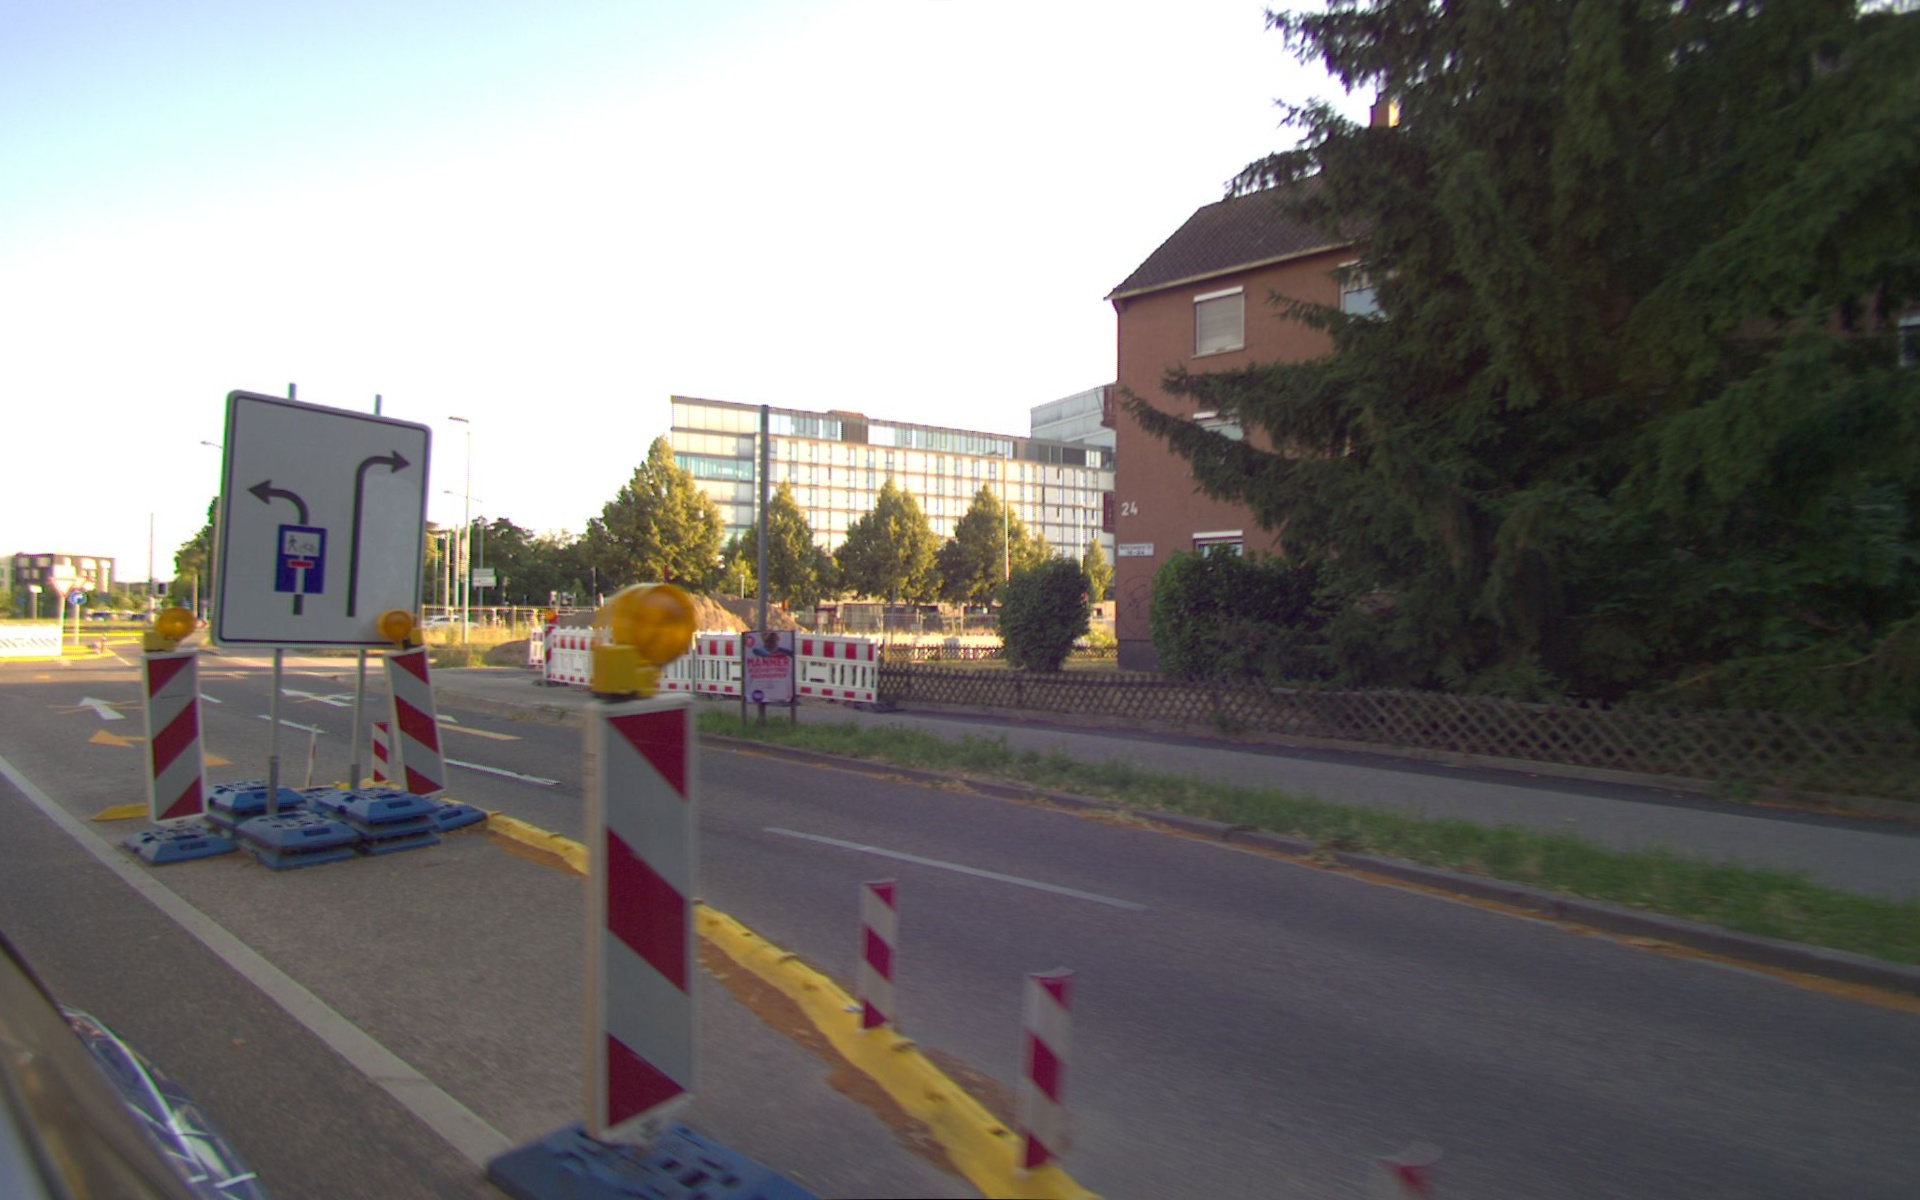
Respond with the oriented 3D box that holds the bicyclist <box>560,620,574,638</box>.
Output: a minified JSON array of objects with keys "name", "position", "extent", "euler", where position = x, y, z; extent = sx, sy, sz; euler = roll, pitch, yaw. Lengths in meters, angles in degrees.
[{"name":"bicyclist","position":[-32.066,2.361,82.497],"extent":[0.974,1.502,0.691],"euler":[0,-2,45]}]

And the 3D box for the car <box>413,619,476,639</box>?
[{"name":"car","position":[-38.785,2.165,76.221],"extent":[1.630,1.475,3.948],"euler":[0,-1,39]}]

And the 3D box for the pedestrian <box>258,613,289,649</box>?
[{"name":"pedestrian","position":[-33.515,1.521,49.426],"extent":[0.784,1.708,0.917],"euler":[0,-3,29]}]
